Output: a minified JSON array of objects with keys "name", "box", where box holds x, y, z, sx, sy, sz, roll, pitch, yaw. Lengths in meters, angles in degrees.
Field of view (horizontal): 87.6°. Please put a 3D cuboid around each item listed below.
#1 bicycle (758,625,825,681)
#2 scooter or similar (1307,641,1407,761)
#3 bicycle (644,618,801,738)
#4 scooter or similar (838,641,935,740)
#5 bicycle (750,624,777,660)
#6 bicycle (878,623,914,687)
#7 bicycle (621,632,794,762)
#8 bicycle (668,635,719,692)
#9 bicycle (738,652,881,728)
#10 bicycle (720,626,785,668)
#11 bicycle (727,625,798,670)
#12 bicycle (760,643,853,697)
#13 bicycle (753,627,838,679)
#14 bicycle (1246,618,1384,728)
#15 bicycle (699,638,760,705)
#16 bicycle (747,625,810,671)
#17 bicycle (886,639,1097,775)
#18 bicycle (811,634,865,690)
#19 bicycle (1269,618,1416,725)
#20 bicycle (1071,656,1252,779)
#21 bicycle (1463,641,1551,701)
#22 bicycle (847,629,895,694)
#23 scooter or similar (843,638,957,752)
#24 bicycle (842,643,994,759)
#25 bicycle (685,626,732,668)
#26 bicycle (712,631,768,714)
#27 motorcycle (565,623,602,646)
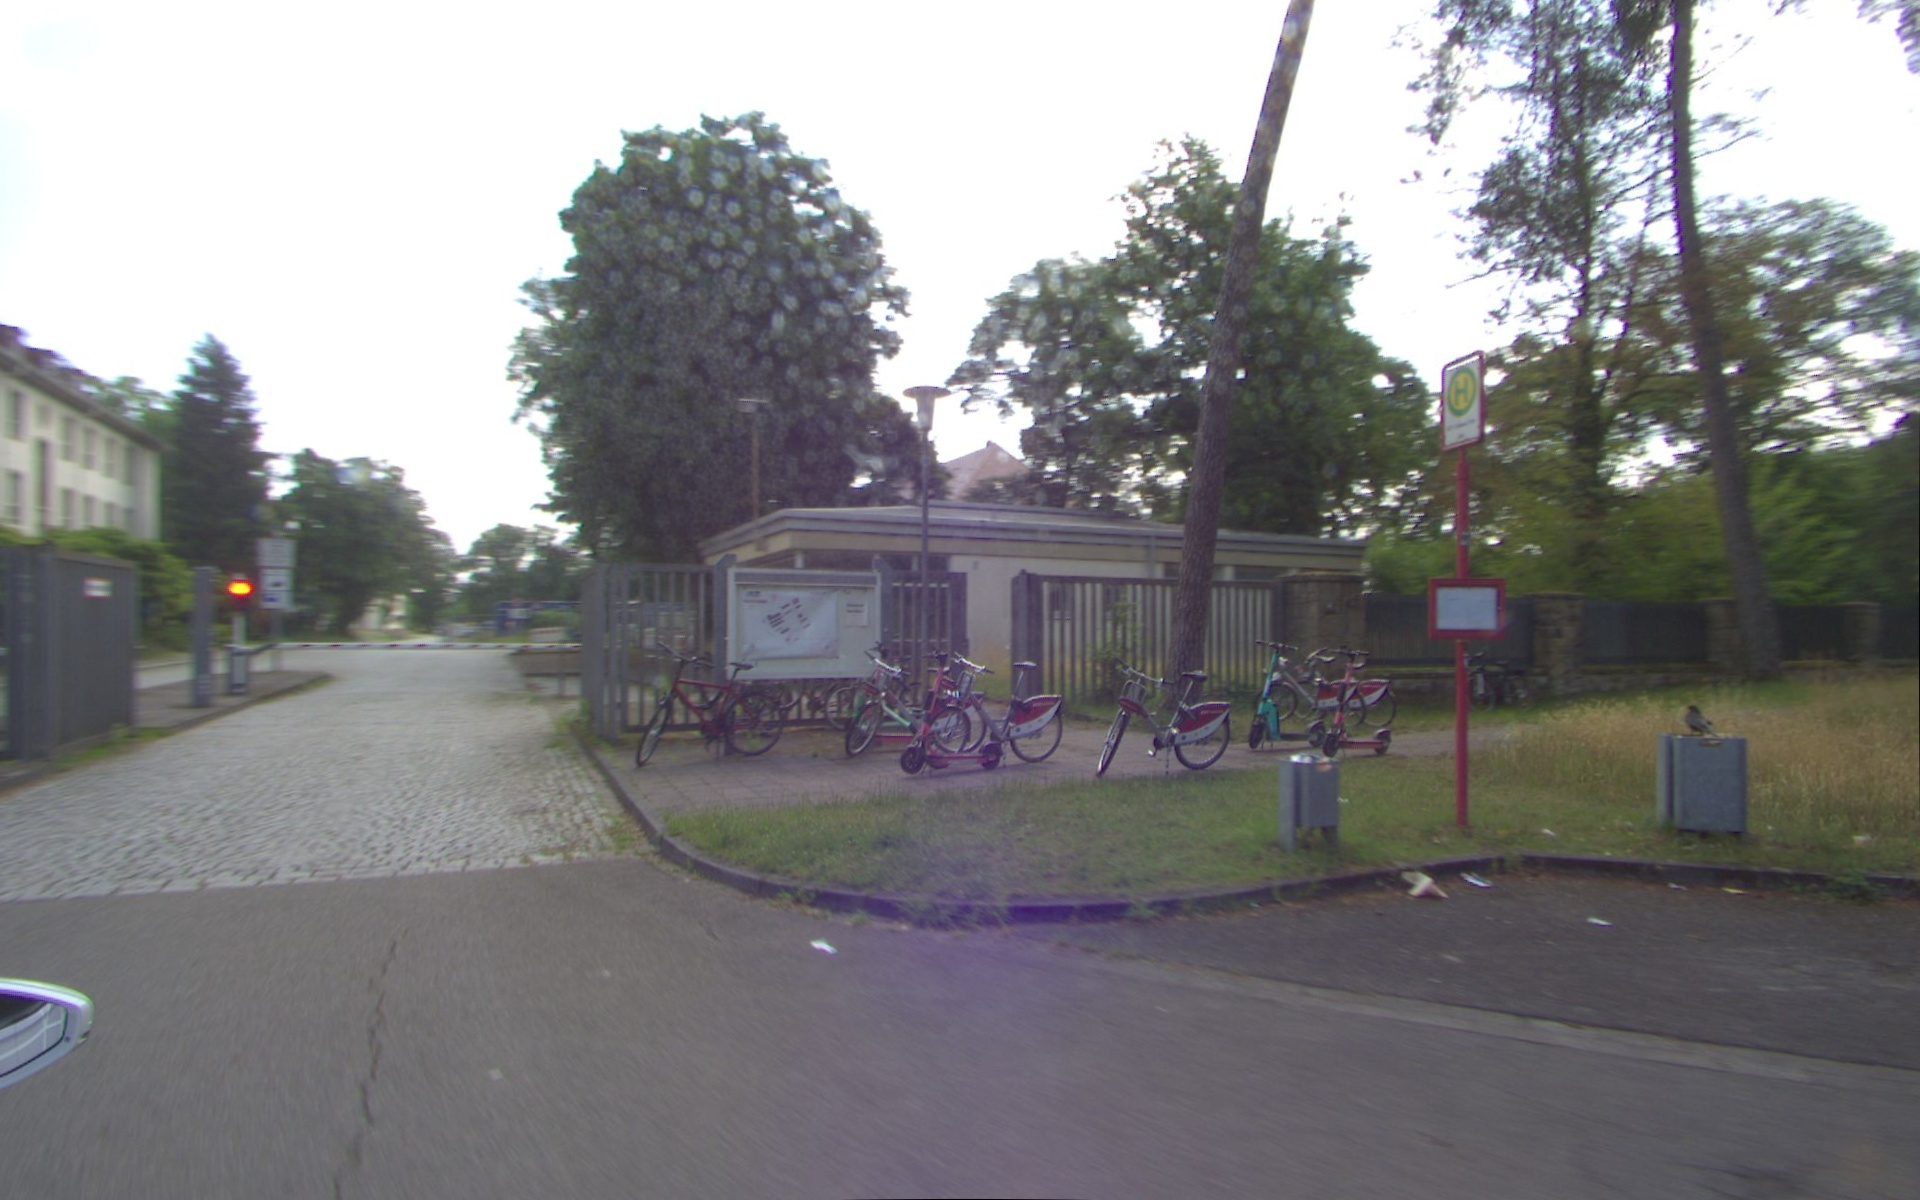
[{"name":"bicycle","box":[-3.711,1.159,22.091,1.374,1.185,0.435,0,-2,-26]},{"name":"scooter or similar","box":[4.421,1.100,11.141,1.075,1.244,0.436,-1,-1,-31]},{"name":"bicycle","box":[-2.998,0.960,12.646,1.874,1.435,0.515,0,-2,-21]},{"name":"scooter or similar","box":[-0.939,1.118,12.681,1.236,1.165,0.435,0,-1,38]},{"name":"bicycle","box":[-6.601,1.415,33.647,0.498,1.185,1.549,0,-3,-26]},{"name":"bicycle","box":[-1.282,1.059,19.864,0.428,1.186,1.722,-1,0,-13]},{"name":"bicycle","box":[-2.754,1.019,10.965,1.715,1.294,0.669,0,0,-30]},{"name":"bicycle","box":[-5.511,1.283,20.642,0.721,1.086,1.707,0,-1,-26]},{"name":"bicycle","box":[-2.086,1.224,13.930,1.921,0.980,0.456,1,-1,-24]},{"name":"bicycle","box":[-5.926,1.341,28.635,1.781,1.185,0.357,1,-3,-32]},{"name":"bicycle","box":[-5.278,1.261,26.779,1.785,1.185,0.579,1,-3,-38]},{"name":"bicycle","box":[-3.494,1.581,22.862,2.046,1.185,0.484,0,-2,-27]},{"name":"bicycle","box":[-3.847,1.227,23.495,1.928,1.185,0.483,1,-3,-32]},{"name":"bicycle","box":[5.021,0.990,14.269,0.582,1.436,1.782,1,0,-40]},{"name":"bicycle","box":[-4.026,1.214,17.422,0.721,1.071,1.588,0,-1,-26]},{"name":"bicycle","box":[-4.777,1.251,26.405,0.397,1.174,1.690,-3,-3,45]},{"name":"bicycle","box":[0.352,1.033,10.215,2.144,1.256,0.632,1,0,-30]},{"name":"bicycle","box":[-2.575,1.304,21.284,0.428,1.133,1.651,-2,-3,19]},{"name":"bicycle","box":[5.535,1.000,14.595,0.572,1.436,1.965,1,0,-41]},{"name":"bicycle","box":[1.998,1.118,9.918,1.657,1.098,0.738,0,-2,-27]},{"name":"bicycle","box":[10.003,1.275,18.285,1.923,1.030,0.372,1,0,-26]},{"name":"bicycle","box":[-1.930,1.341,21.533,0.429,1.092,1.597,0,-14,-26]},{"name":"scooter or similar","box":[-0.690,1.078,11.593,1.262,1.262,0.385,0,0,-19]},{"name":"bicycle","box":[-0.470,1.088,11.060,1.581,1.178,0.621,0,1,-15]},{"name":"bicycle","box":[-7.506,1.393,29.927,0.428,1.186,1.373,-3,-2,37]},{"name":"bicycle","box":[-3.509,1.107,15.850,0.495,1.186,1.709,0,0,-25]},{"name":"motorcycle","box":[-21.290,1.934,56.642,1.933,1.212,0.459,-1,5,-28]}]
